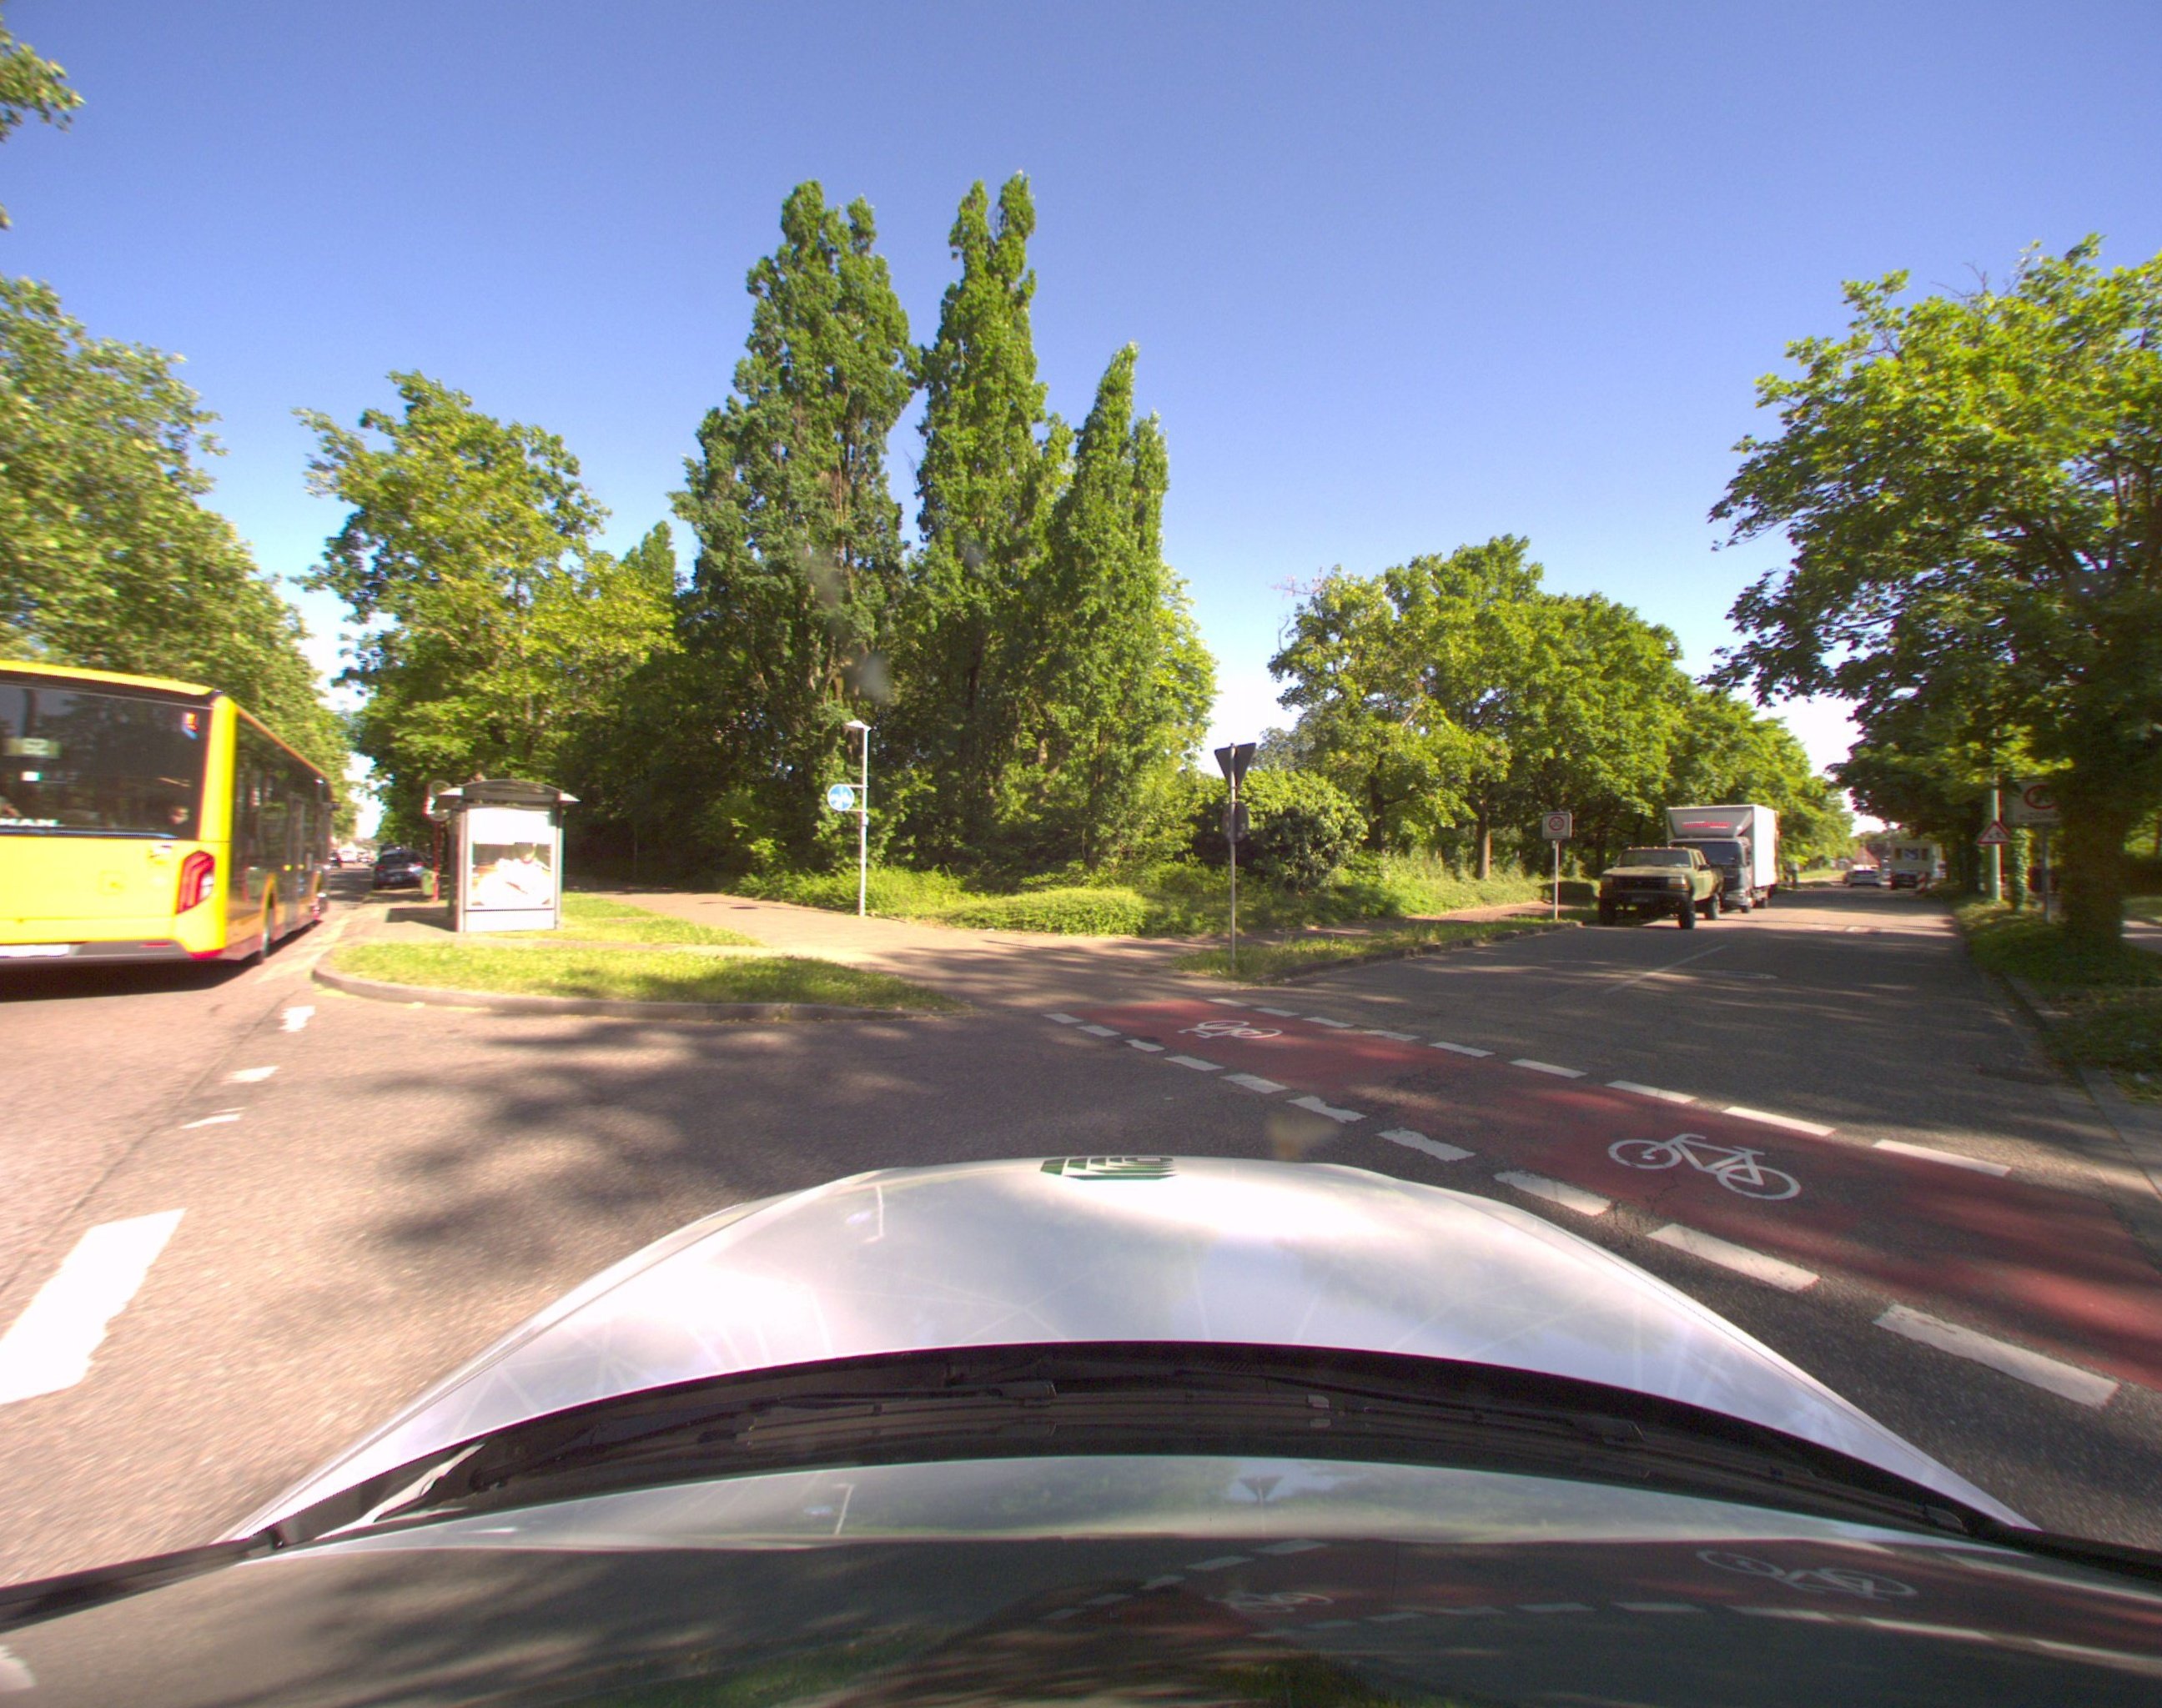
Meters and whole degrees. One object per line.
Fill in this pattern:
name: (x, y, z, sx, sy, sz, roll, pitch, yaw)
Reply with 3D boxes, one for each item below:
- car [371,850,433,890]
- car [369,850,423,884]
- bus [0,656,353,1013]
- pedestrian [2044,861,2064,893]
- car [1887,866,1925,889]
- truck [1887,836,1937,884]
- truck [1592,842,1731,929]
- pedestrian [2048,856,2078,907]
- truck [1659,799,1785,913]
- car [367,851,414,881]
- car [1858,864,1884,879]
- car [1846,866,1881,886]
car: (-27.325, 0.605, 32.832, 1.809, 1.510, 3.954, 1, -1, -39)
car: (-31.757, 0.582, 37.819, 1.809, 1.510, 3.954, 1, -1, -39)
bus: (-13.448, -0.174, 12.315, 2.923, 3.267, 12.077, 1, -1, -39)
pedestrian: (52.151, 1.216, 43.654, 0.653, 1.661, 0.642, 1, -1, -42)
car: (56.690, 1.583, 55.933, 4.022, 1.510, 1.778, 1, -1, -43)
truck: (72.793, 0.535, 71.238, 10.055, 3.944, 2.862, 1, 0, -43)
truck: (16.382, 0.804, 22.786, 2.093, 2.094, 6.686, -1, -1, 45)
pedestrian: (36.039, 0.996, 29.898, 0.654, 1.820, 0.642, 1, -1, -43)
truck: (23.512, 0.109, 29.681, 8.002, 3.627, 2.590, 1, -1, -45)
car: (-36.652, 0.618, 43.324, 1.809, 1.510, 3.954, 1, -1, -39)
car: (83.006, 1.867, 85.541, 4.022, 1.510, 1.778, 1, -1, -43)
car: (61.426, 1.713, 63.906, 4.022, 1.510, 1.778, 1, -1, -43)
